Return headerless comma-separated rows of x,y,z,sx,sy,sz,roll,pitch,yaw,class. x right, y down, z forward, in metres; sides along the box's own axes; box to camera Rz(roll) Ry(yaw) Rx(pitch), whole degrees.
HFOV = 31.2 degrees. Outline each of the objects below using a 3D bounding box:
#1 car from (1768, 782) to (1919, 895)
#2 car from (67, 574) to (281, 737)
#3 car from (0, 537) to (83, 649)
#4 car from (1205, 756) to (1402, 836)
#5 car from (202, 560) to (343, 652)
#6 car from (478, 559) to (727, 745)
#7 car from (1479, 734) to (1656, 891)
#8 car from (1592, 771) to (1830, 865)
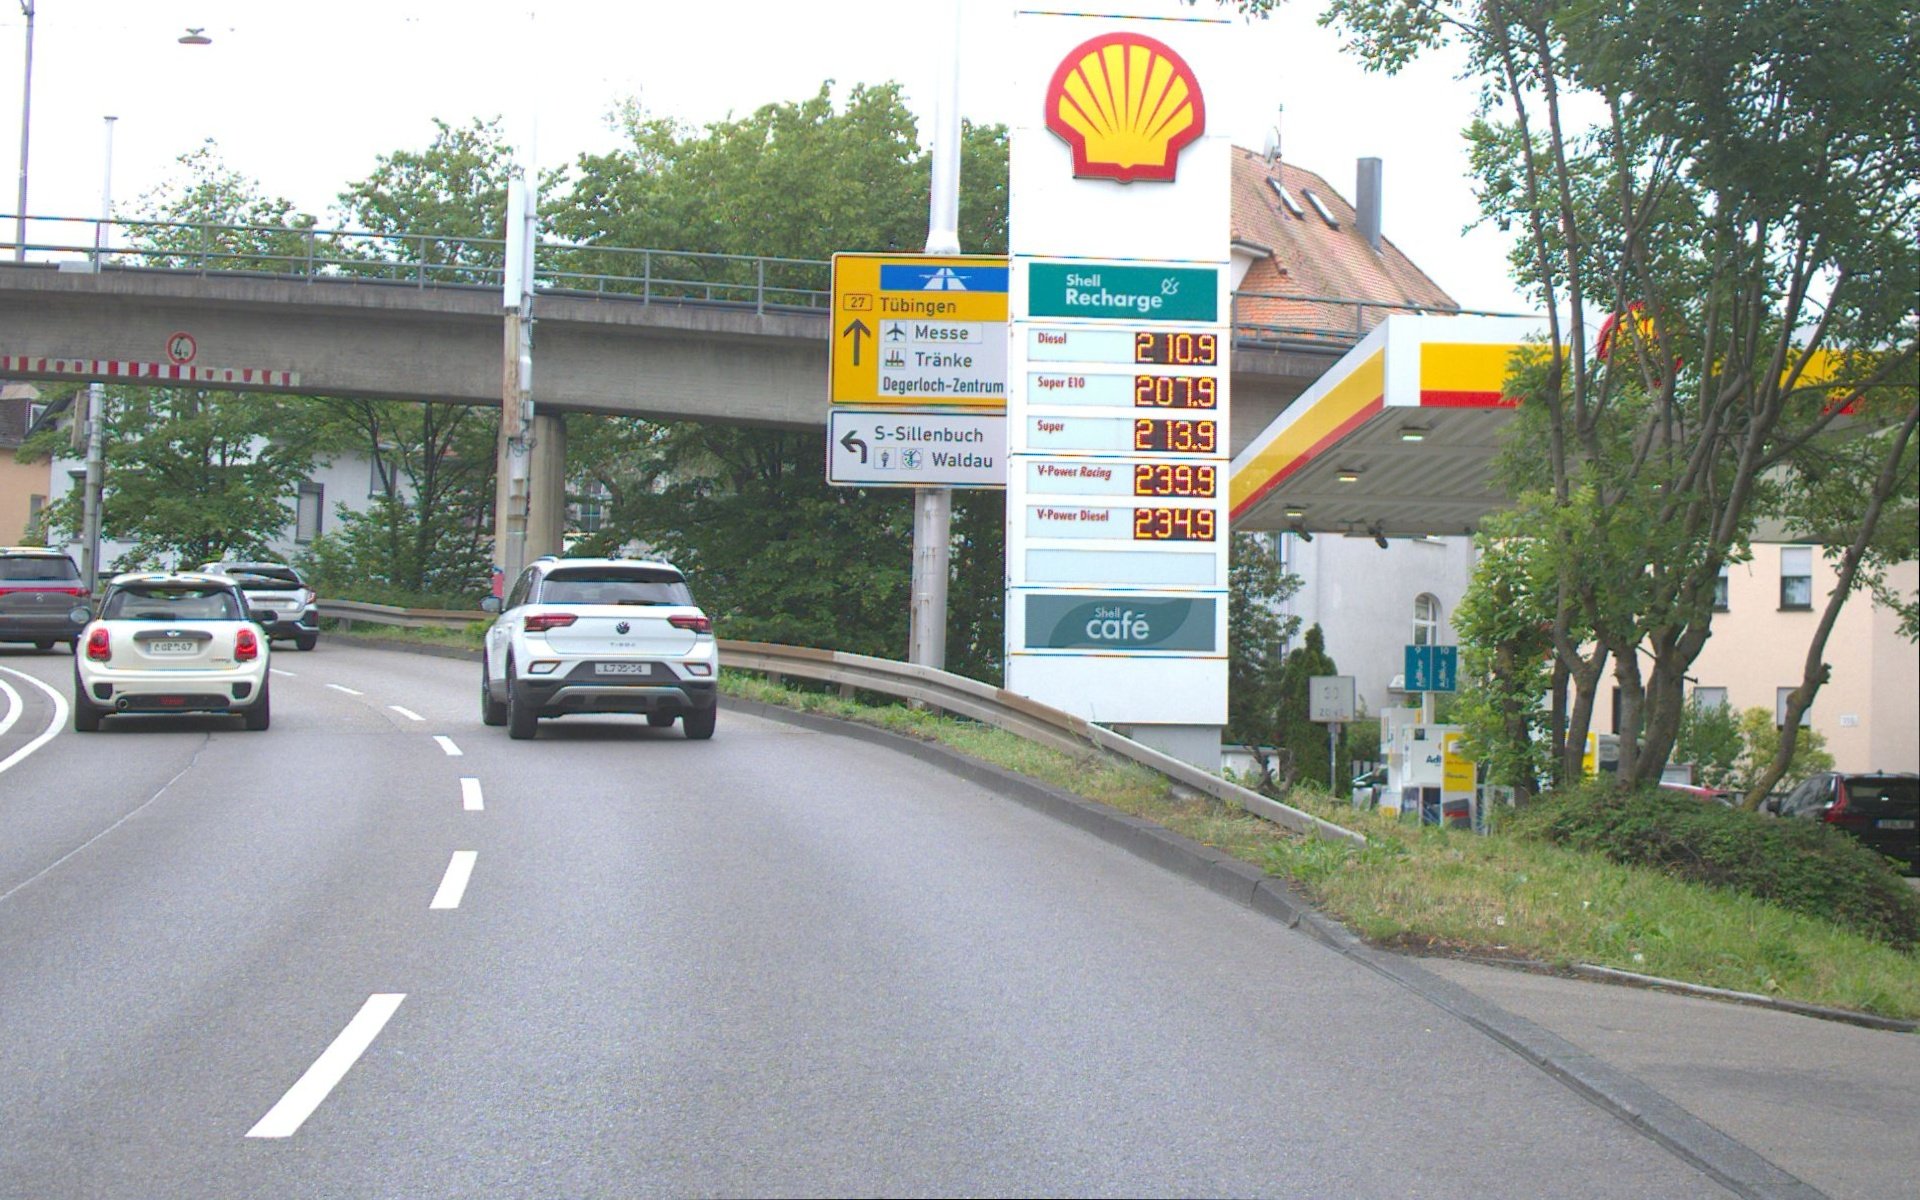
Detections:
12.396,3.262,47.349,1.735,1.481,3.877,0,-3,2,car
-7.166,0.470,31.611,1.722,1.371,3.457,2,0,-10,car
-14.487,-0.133,52.790,1.722,1.634,3.457,2,0,-18,car
7.324,4.183,73.400,3.764,1.390,1.648,3,-2,31,car
-11.204,0.080,55.867,1.675,1.404,3.457,2,0,-21,car
-3.223,0.423,30.484,1.796,1.514,3.457,2,0,-12,car
8.196,2.879,46.735,1.735,2.004,4.712,0,-3,2,car
15.052,4.368,68.928,4.297,1.516,1.621,3,-2,28,car
